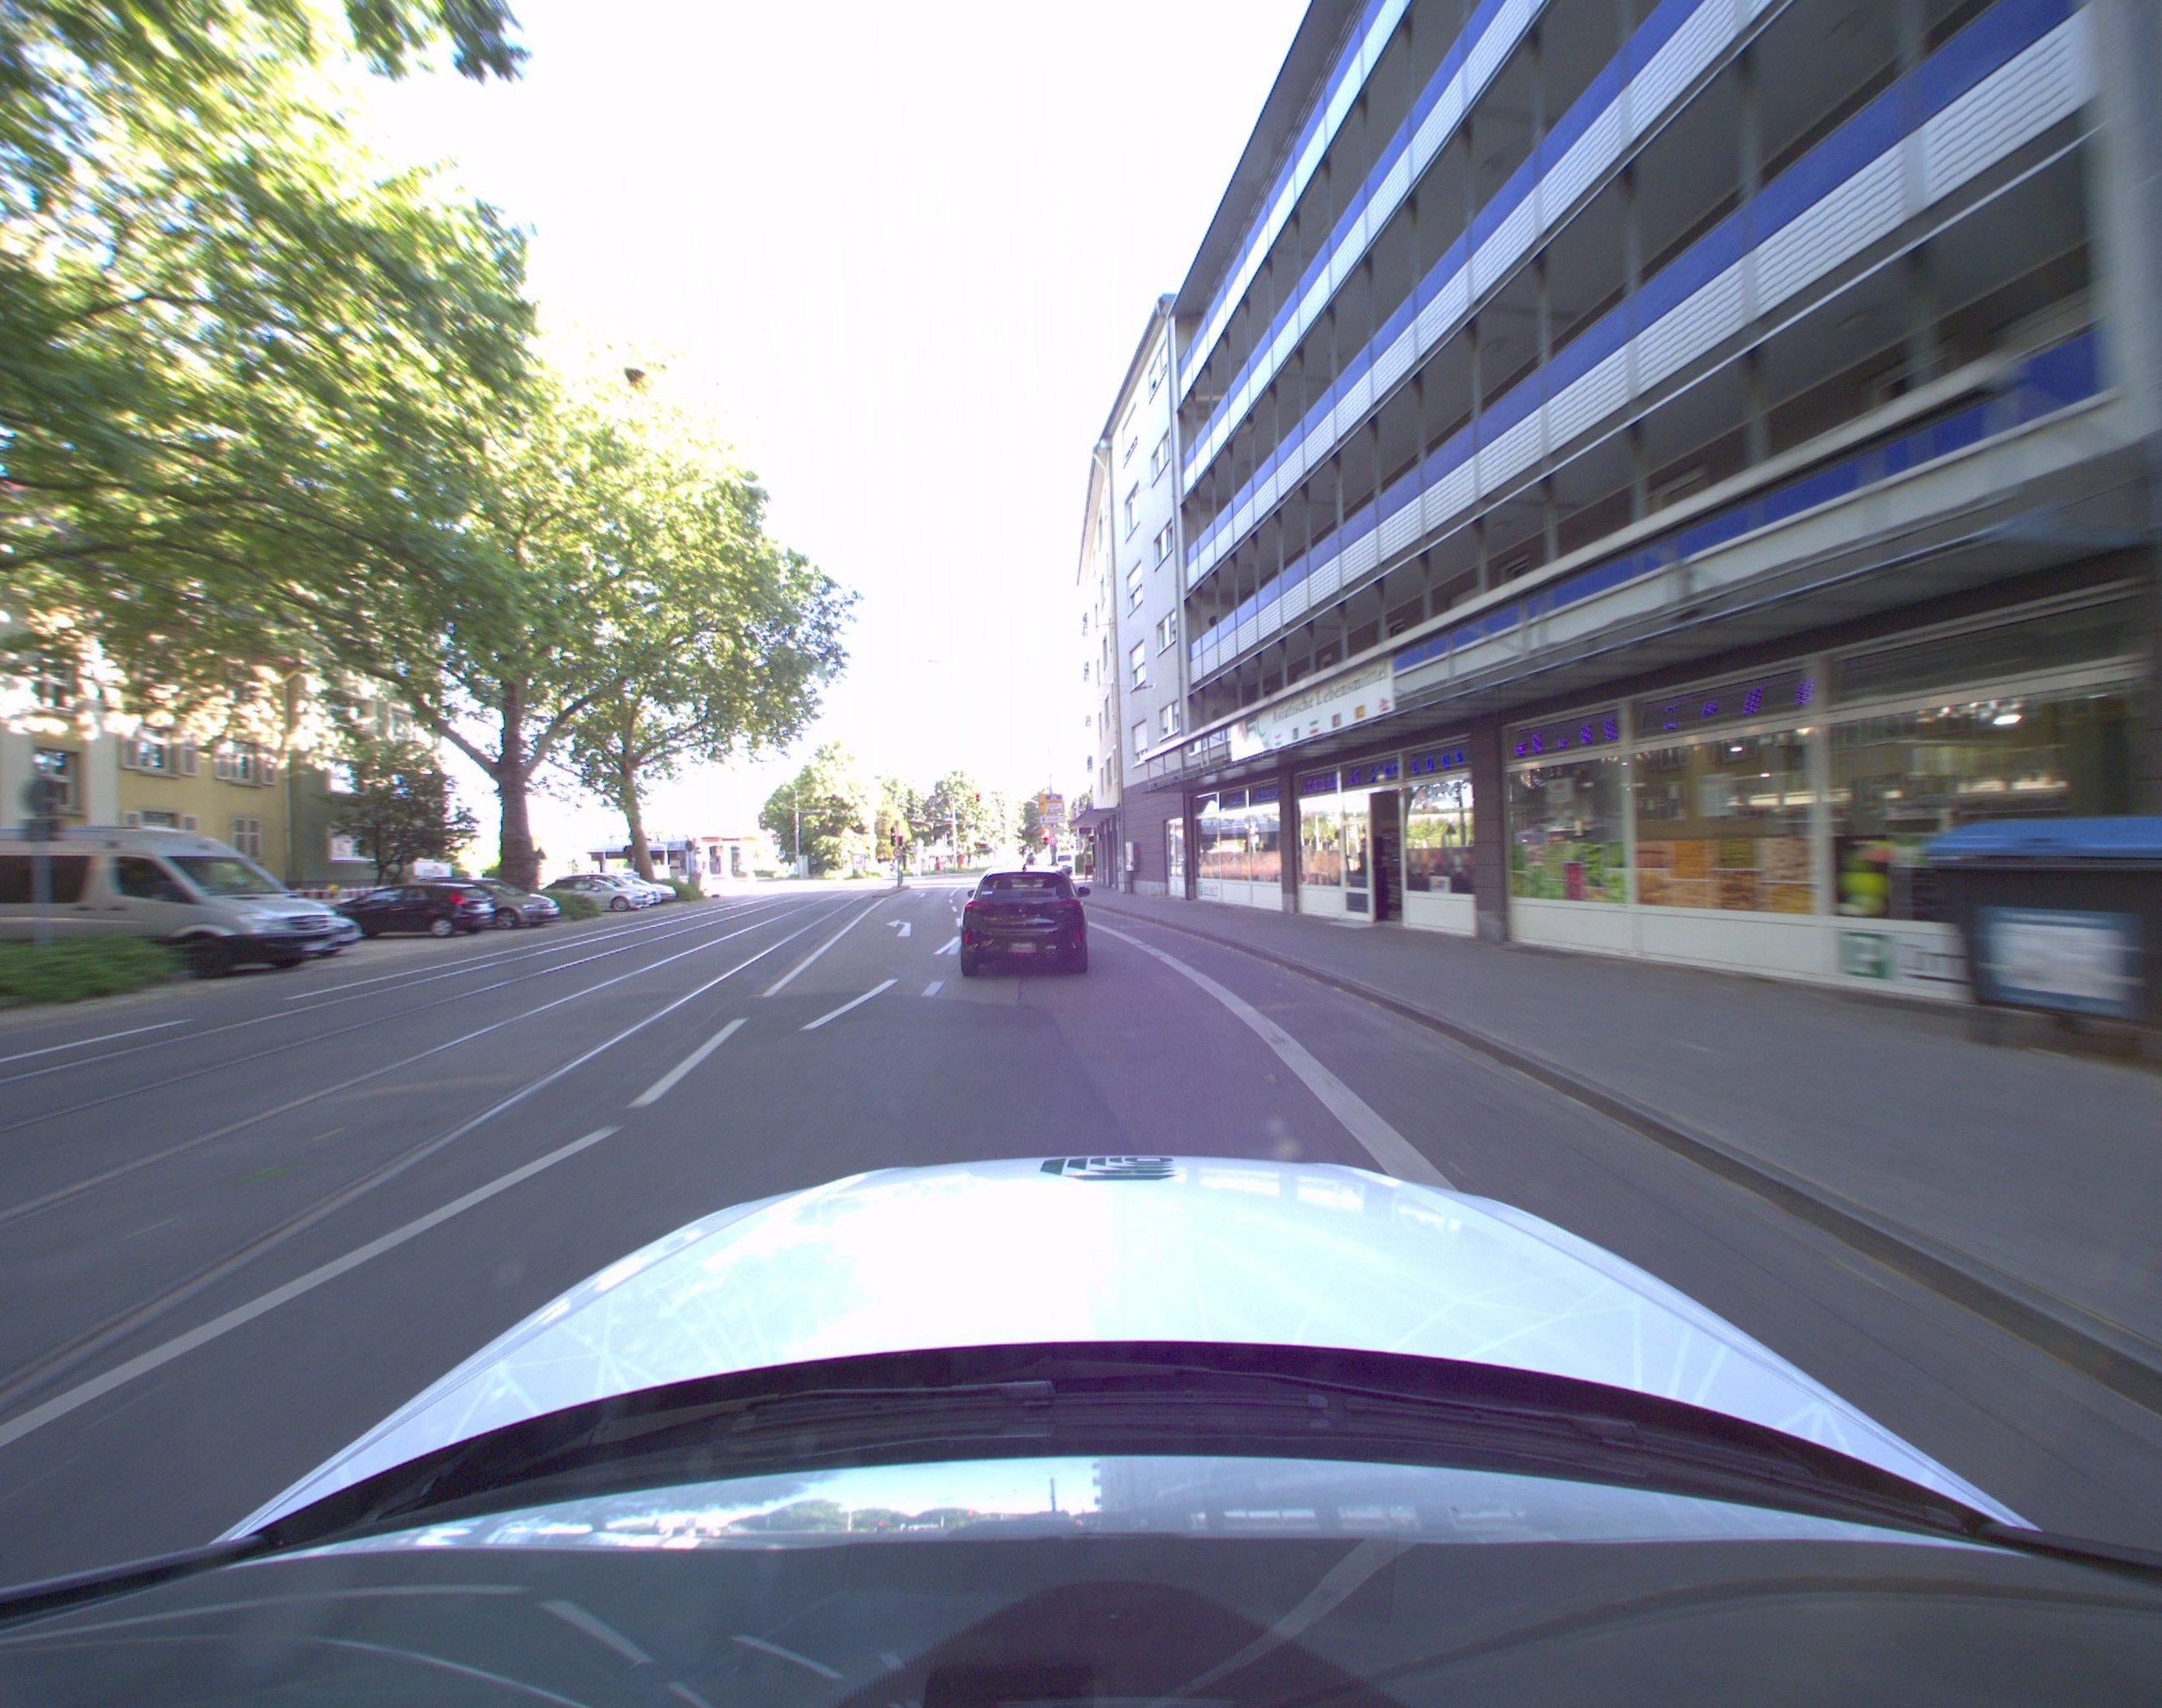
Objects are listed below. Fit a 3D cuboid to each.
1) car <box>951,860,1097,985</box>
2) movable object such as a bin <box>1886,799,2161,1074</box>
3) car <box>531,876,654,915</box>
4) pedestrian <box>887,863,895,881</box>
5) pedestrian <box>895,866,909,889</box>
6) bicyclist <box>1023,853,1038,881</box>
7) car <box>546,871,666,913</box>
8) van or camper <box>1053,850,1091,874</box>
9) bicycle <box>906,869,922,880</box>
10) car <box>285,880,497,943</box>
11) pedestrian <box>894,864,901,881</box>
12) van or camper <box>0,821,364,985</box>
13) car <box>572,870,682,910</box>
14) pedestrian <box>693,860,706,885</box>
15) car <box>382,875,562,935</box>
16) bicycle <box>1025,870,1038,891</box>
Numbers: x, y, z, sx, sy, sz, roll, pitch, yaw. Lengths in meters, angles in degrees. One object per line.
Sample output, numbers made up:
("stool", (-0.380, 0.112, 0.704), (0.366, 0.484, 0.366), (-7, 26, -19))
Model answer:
("car", (-0.818, 0.850, 12.055), (1.778, 1.496, 3.994), (-1, 0, -4))
("movable object such as a bin", (6.281, 0.432, 5.058), (1.111, 1.484, 1.382), (-3, 0, -11))
("car", (-20.067, 1.681, 33.606), (3.988, 1.515, 1.644), (0, -1, -11))
("pedestrian", (-20.467, 1.959, 87.716), (0.652, 1.932, 0.612), (-1, -1, 20))
("pedestrian", (-10.665, 1.380, 48.458), (0.650, 1.363, 0.645), (-2, -1, 1))
("bicyclist", (-2.678, 0.692, 43.199), (0.703, 1.435, 0.702), (-2, -1, 1))
("car", (-21.039, 1.653, 36.274), (4.175, 1.671, 1.955), (-2, -1, -15))
("van or camper", (-0.798, 0.758, 77.326), (2.150, 2.146, 4.527), (-1, -1, 19))
("bicycle", (-15.517, 1.915, 75.651), (0.784, 0.992, 2.246), (-1, -1, 5))
("car", (-18.409, 1.489, 21.927), (3.994, 1.515, 1.641), (0, -1, -15))
("pedestrian", (-19.765, 1.999, 87.696), (0.612, 1.854, 0.586), (-1, -1, 13))
("van or camper", (-16.747, 0.794, 14.375), (5.726, 2.644, 2.261), (0, -1, -11))
("car", (-21.490, 1.680, 38.717), (4.175, 1.671, 1.955), (-2, -1, -15))
("pedestrian", (-34.411, 1.636, 73.407), (0.888, 2.221, 0.826), (-2, -2, 44))
("car", (-18.243, 1.492, 24.576), (3.988, 1.651, 1.644), (0, -1, -11))
("bicycle", (-2.633, 1.415, 43.239), (0.506, 1.067, 1.564), (-2, -1, 1))
